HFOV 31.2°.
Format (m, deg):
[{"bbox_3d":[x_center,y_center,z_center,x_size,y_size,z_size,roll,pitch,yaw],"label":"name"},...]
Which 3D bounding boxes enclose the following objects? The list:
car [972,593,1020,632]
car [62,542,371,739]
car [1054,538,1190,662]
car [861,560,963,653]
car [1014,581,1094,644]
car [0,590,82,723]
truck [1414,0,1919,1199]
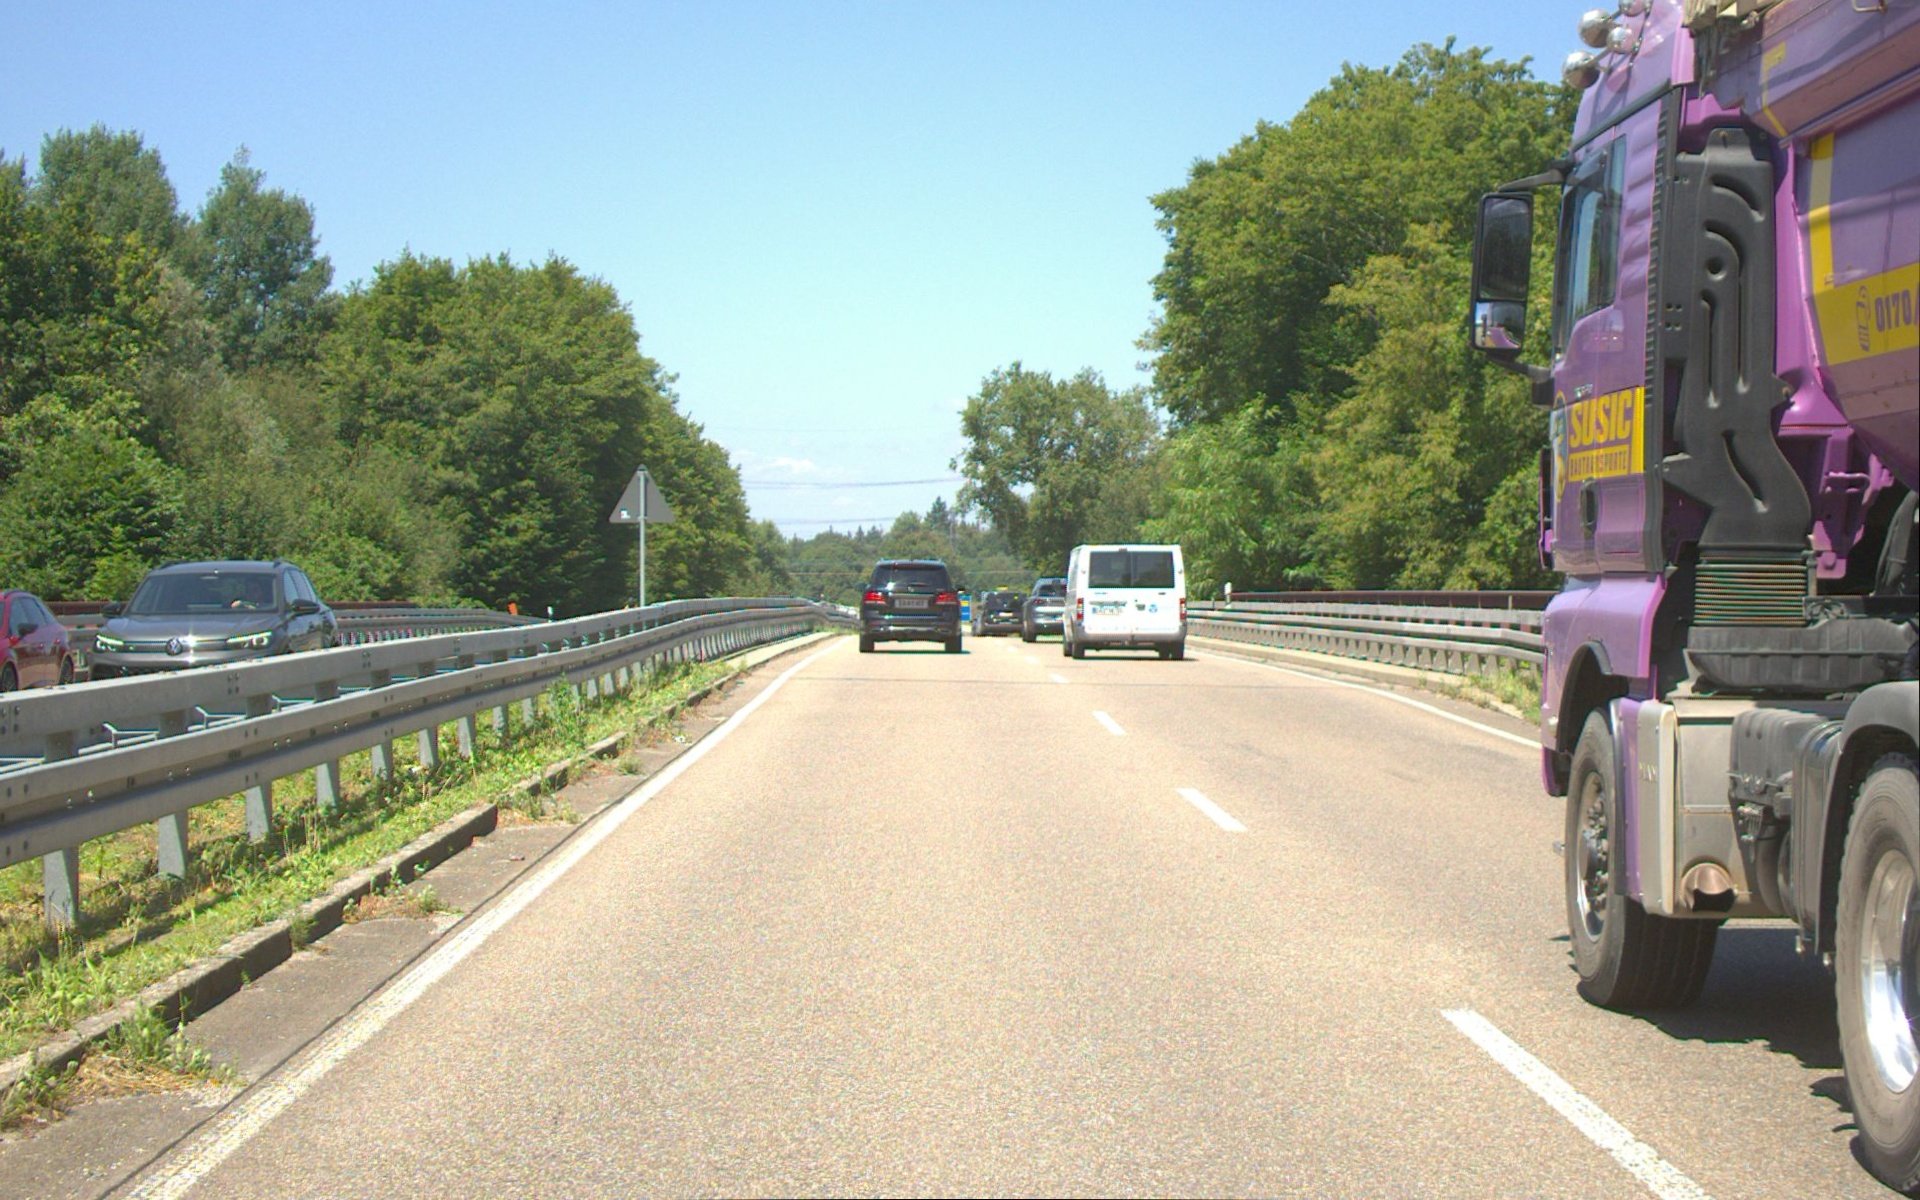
[{"bbox_3d":[1.393,0.470,133.914,1.603,1.415,3.523,-1,1,-3],"label":"car"},{"bbox_3d":[-7.298,0.350,34.230,1.993,1.788,4.748,-1,1,0],"label":"car"},{"bbox_3d":[2.800,-0.023,60.276,1.993,2.070,4.000,-1,1,-2],"label":"car"},{"bbox_3d":[-0.937,0.150,65.451,1.857,1.666,4.000,1,-1,-2],"label":"car"},{"bbox_3d":[2.208,0.287,81.646,1.603,1.415,3.523,-1,1,-3],"label":"car"},{"bbox_3d":[-11.155,0.612,38.240,1.797,1.386,4.000,-1,1,-1],"label":"car"},{"bbox_3d":[3.381,-0.411,7.770,2.720,3.917,12.371,1,1,-1],"label":"truck"}]
